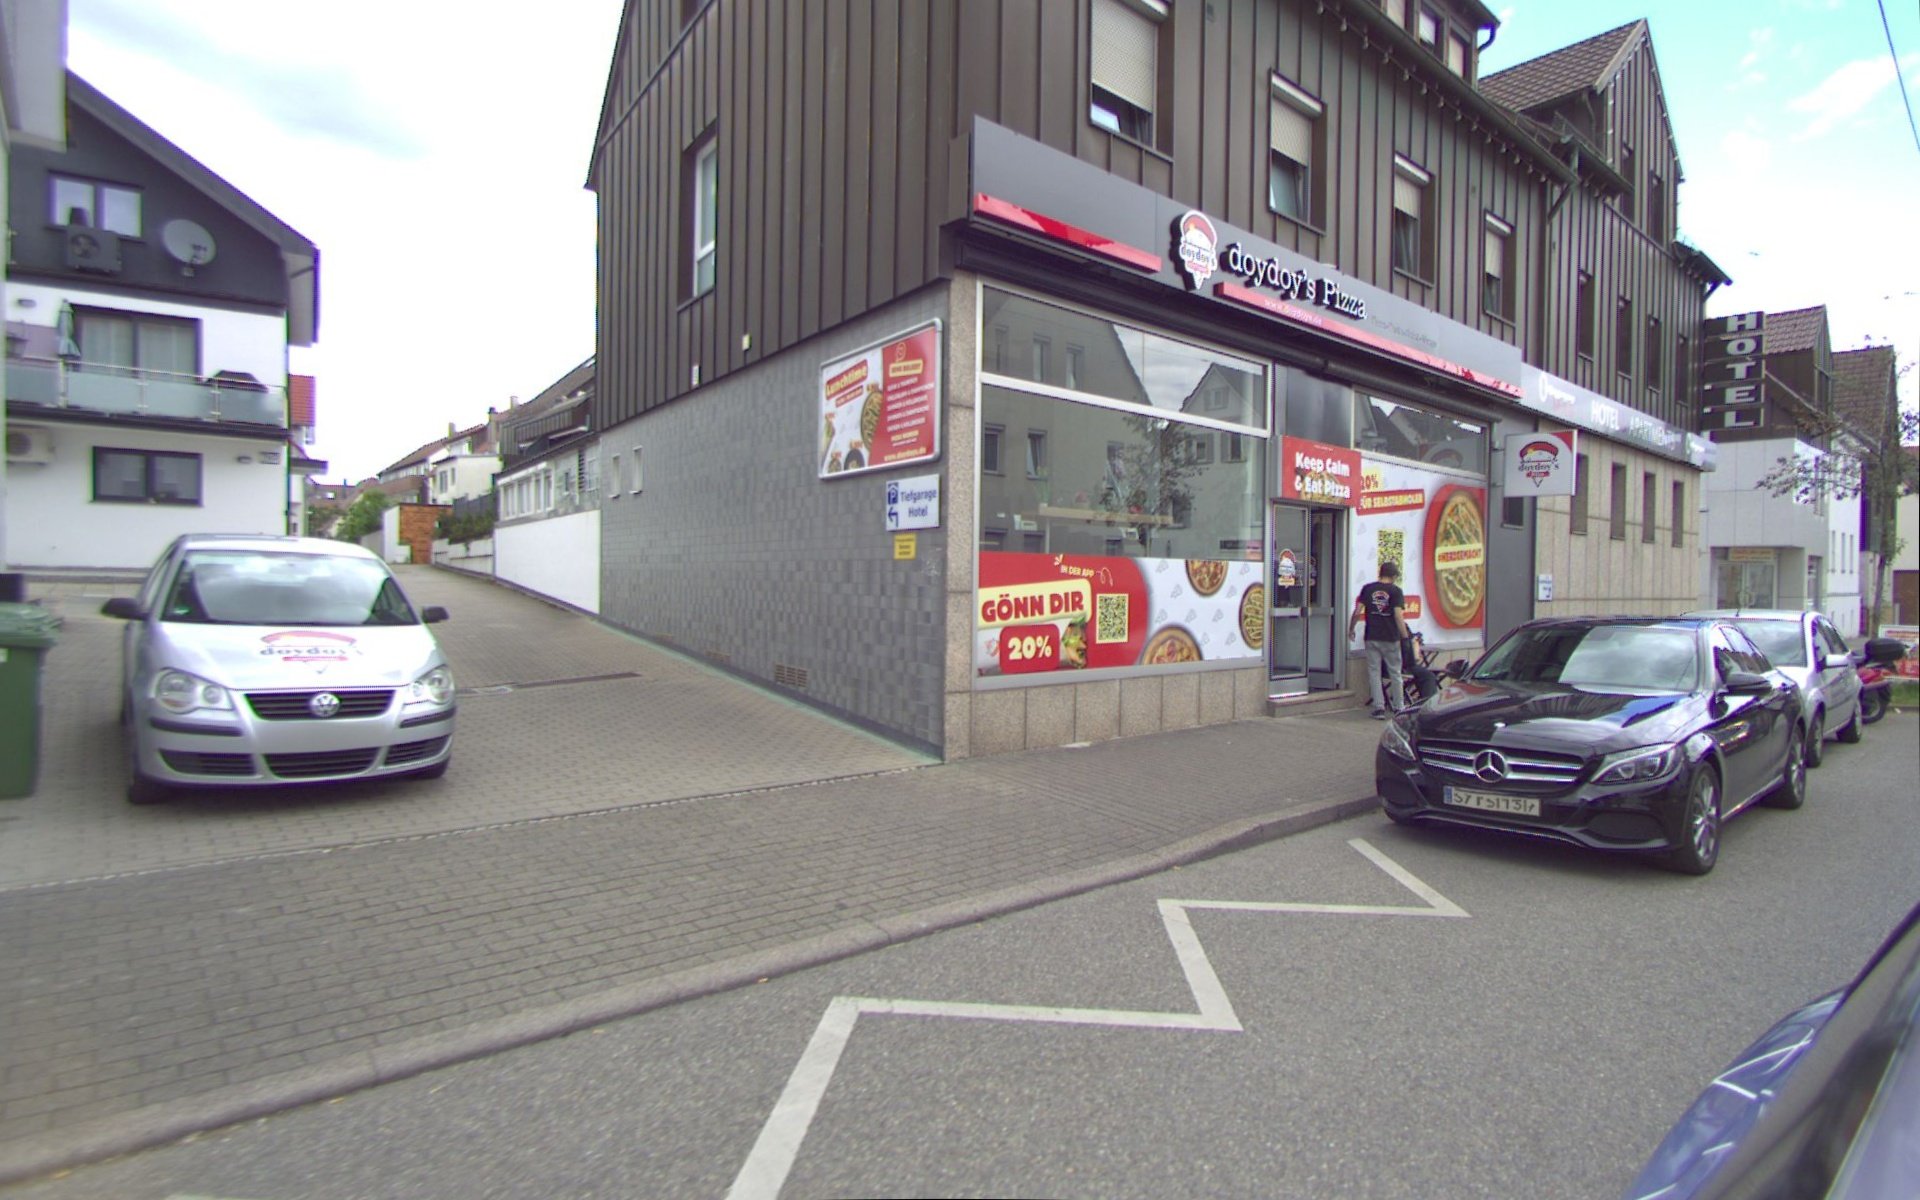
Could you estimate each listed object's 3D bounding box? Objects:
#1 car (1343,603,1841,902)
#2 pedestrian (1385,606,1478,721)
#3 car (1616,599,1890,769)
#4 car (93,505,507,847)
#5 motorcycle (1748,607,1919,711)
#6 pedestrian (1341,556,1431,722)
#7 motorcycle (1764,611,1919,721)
[{"bbox_3d":[4.684,0.757,7.184,4.486,1.426,1.828,0,1,-42],"label":"car"},{"bbox_3d":[5.422,0.703,11.645,0.632,1.226,0.741,0,2,-41],"label":"pedestrian"},{"bbox_3d":[8.490,0.729,10.719,3.835,1.460,1.643,0,1,-42],"label":"car"},{"bbox_3d":[-4.710,0.211,6.931,1.822,1.607,4.209,0,4,-40],"label":"car"},{"bbox_3d":[11.715,0.765,13.490,1.841,1.308,0.530,0,0,12],"label":"motorcycle"},{"bbox_3d":[4.734,0.406,11.241,0.642,1.762,0.730,3,2,44],"label":"pedestrian"},{"bbox_3d":[11.118,0.804,12.666,1.566,1.308,0.498,1,0,21],"label":"motorcycle"}]
